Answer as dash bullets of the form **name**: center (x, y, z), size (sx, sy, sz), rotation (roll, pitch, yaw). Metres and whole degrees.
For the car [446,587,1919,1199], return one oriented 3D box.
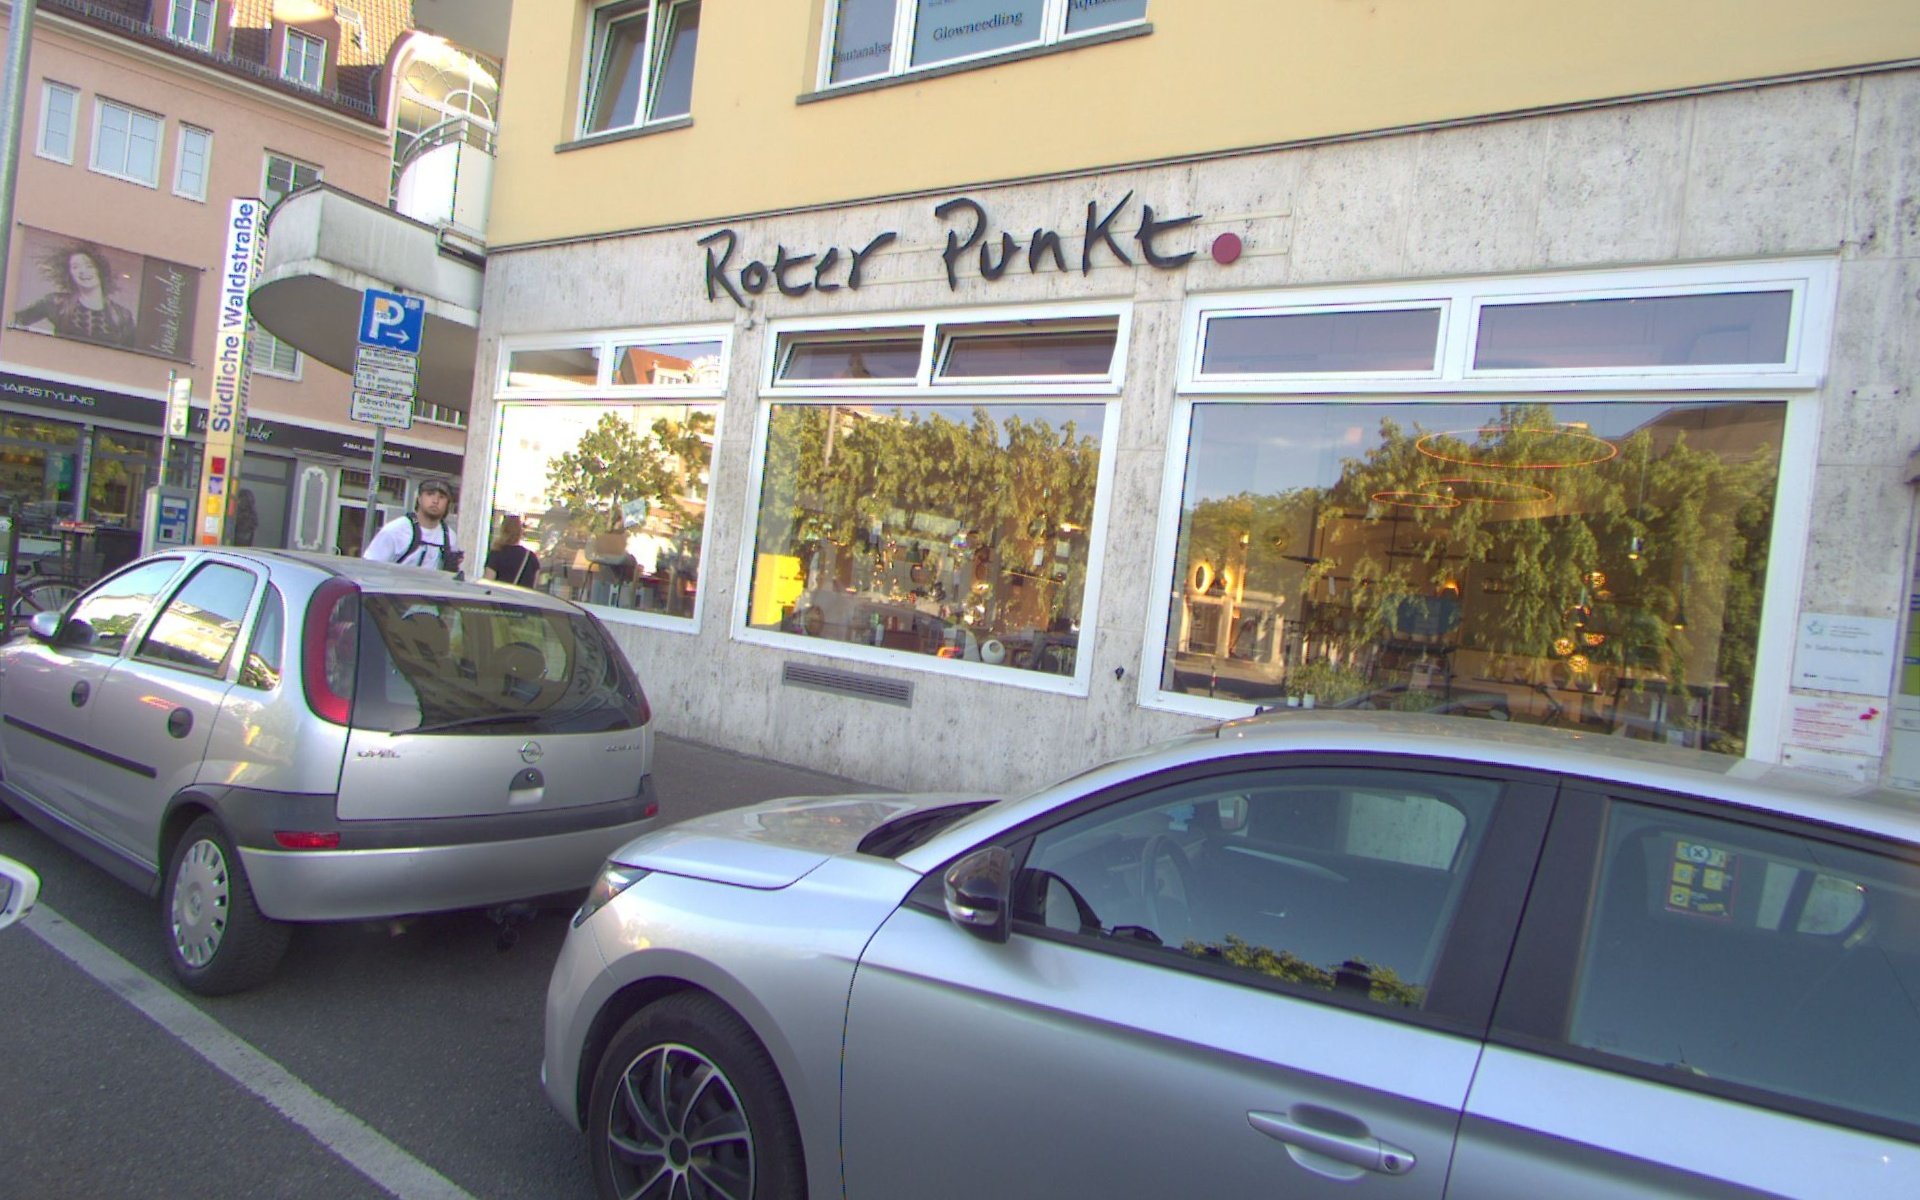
- **car**: center (0.772, 0.940, 2.275), size (3.624, 1.453, 1.587), rotation (6, -2, 30)

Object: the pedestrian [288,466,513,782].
- **pedestrian**: center (-3.604, 0.127, 6.486), size (0.967, 1.846, 0.808), rotation (6, 2, 35)

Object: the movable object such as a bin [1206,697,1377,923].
- **movable object such as a bin**: center (1.817, 1.093, 5.471), size (0.639, 1.035, 0.738), rotation (6, -1, 31)

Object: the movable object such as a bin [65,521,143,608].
- **movable object such as a bin**: center (-11.964, -0.492, 14.059), size (0.716, 1.117, 0.636), rotation (7, 2, 35)

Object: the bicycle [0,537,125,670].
- **bicycle**: center (-8.173, -0.001, 8.247), size (0.642, 1.057, 1.884), rotation (7, 0, 33)

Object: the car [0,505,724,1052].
- **car**: center (-2.964, 0.480, 4.455), size (3.520, 1.443, 1.587), rotation (6, -2, 32)

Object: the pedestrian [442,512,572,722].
- **pedestrian**: center (-4.082, 0.144, 9.053), size (0.777, 1.777, 0.719), rotation (7, 2, 43)

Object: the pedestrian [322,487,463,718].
- **pedestrian**: center (-4.922, 0.009, 8.717), size (0.880, 1.874, 0.680), rotation (6, 3, 36)

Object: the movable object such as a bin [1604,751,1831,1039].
- **movable object such as a bin**: center (3.365, 1.262, 4.540), size (0.639, 1.035, 0.738), rotation (6, -1, 31)

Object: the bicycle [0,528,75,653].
- **bicycle**: center (-9.064, -0.155, 8.792), size (0.642, 1.072, 1.816), rotation (7, -1, 33)
